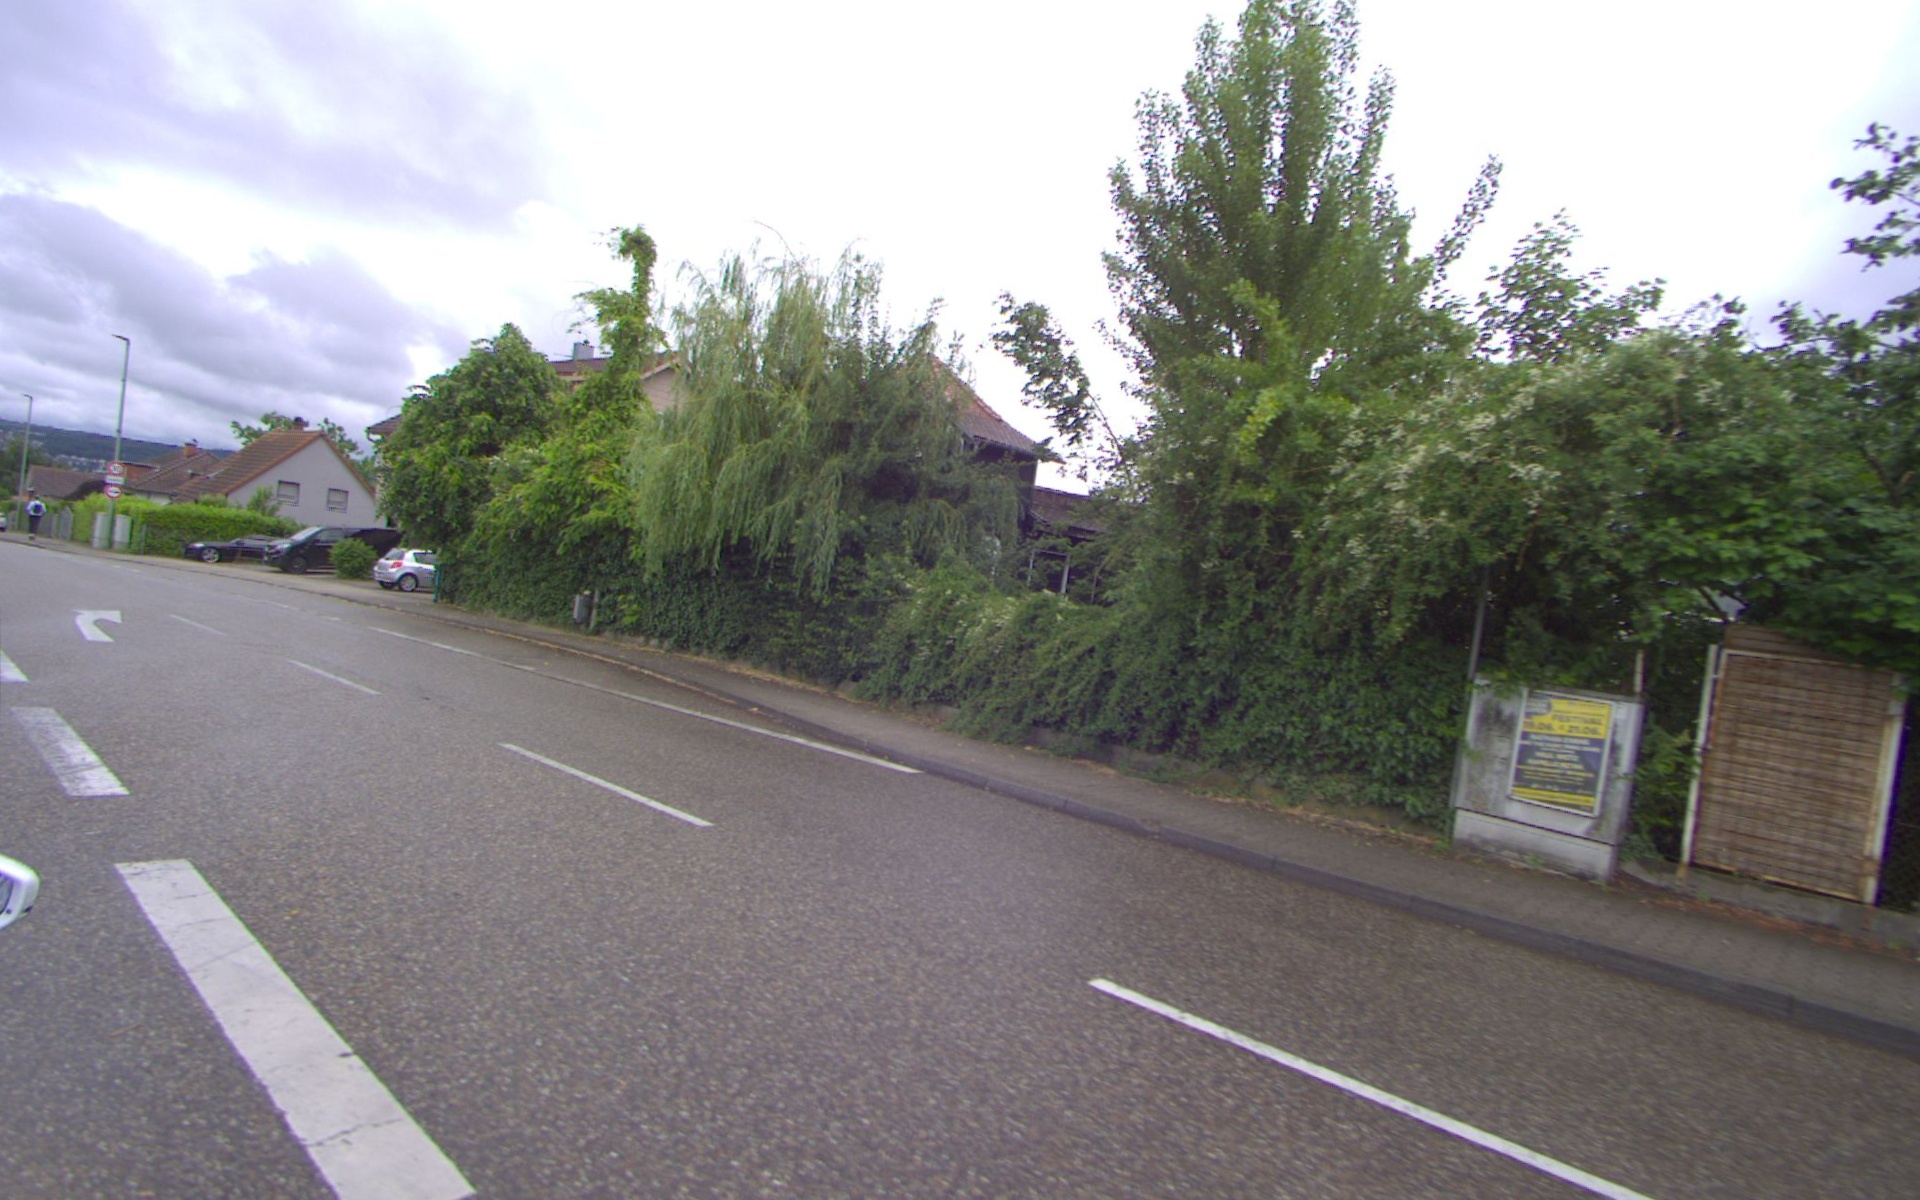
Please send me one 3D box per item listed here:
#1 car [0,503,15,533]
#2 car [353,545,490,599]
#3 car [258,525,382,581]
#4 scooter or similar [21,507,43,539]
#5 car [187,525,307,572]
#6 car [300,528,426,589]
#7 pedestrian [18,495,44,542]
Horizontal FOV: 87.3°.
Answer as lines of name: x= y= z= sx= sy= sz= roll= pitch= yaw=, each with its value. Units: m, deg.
car: x=-56.587 y=-4.903 z=58.660 sx=3.947 sy=1.593 sz=1.847 roll=6 pitch=-1 yaw=44
car: x=-18.432 y=-0.935 z=34.585 sx=1.702 sy=1.412 sz=3.713 roll=5 pitch=-1 yaw=36
car: x=-24.853 y=-1.809 z=39.150 sx=1.765 sy=1.646 sz=3.624 roll=7 pitch=-1 yaw=39
scooter or similar: x=-42.354 y=-3.510 z=45.908 sx=1.365 sy=1.378 sz=0.460 roll=7 pitch=0 yaw=40
car: x=-29.290 y=-2.098 z=41.400 sx=1.499 sy=1.385 sz=3.683 roll=4 pitch=-3 yaw=42
car: x=-22.493 y=-1.545 z=38.000 sx=1.683 sy=1.768 sz=3.624 roll=7 pitch=0 yaw=40
pedestrian: x=-42.416 y=-3.737 z=45.928 sx=0.707 sy=2.026 sz=0.655 roll=7 pitch=1 yaw=40
